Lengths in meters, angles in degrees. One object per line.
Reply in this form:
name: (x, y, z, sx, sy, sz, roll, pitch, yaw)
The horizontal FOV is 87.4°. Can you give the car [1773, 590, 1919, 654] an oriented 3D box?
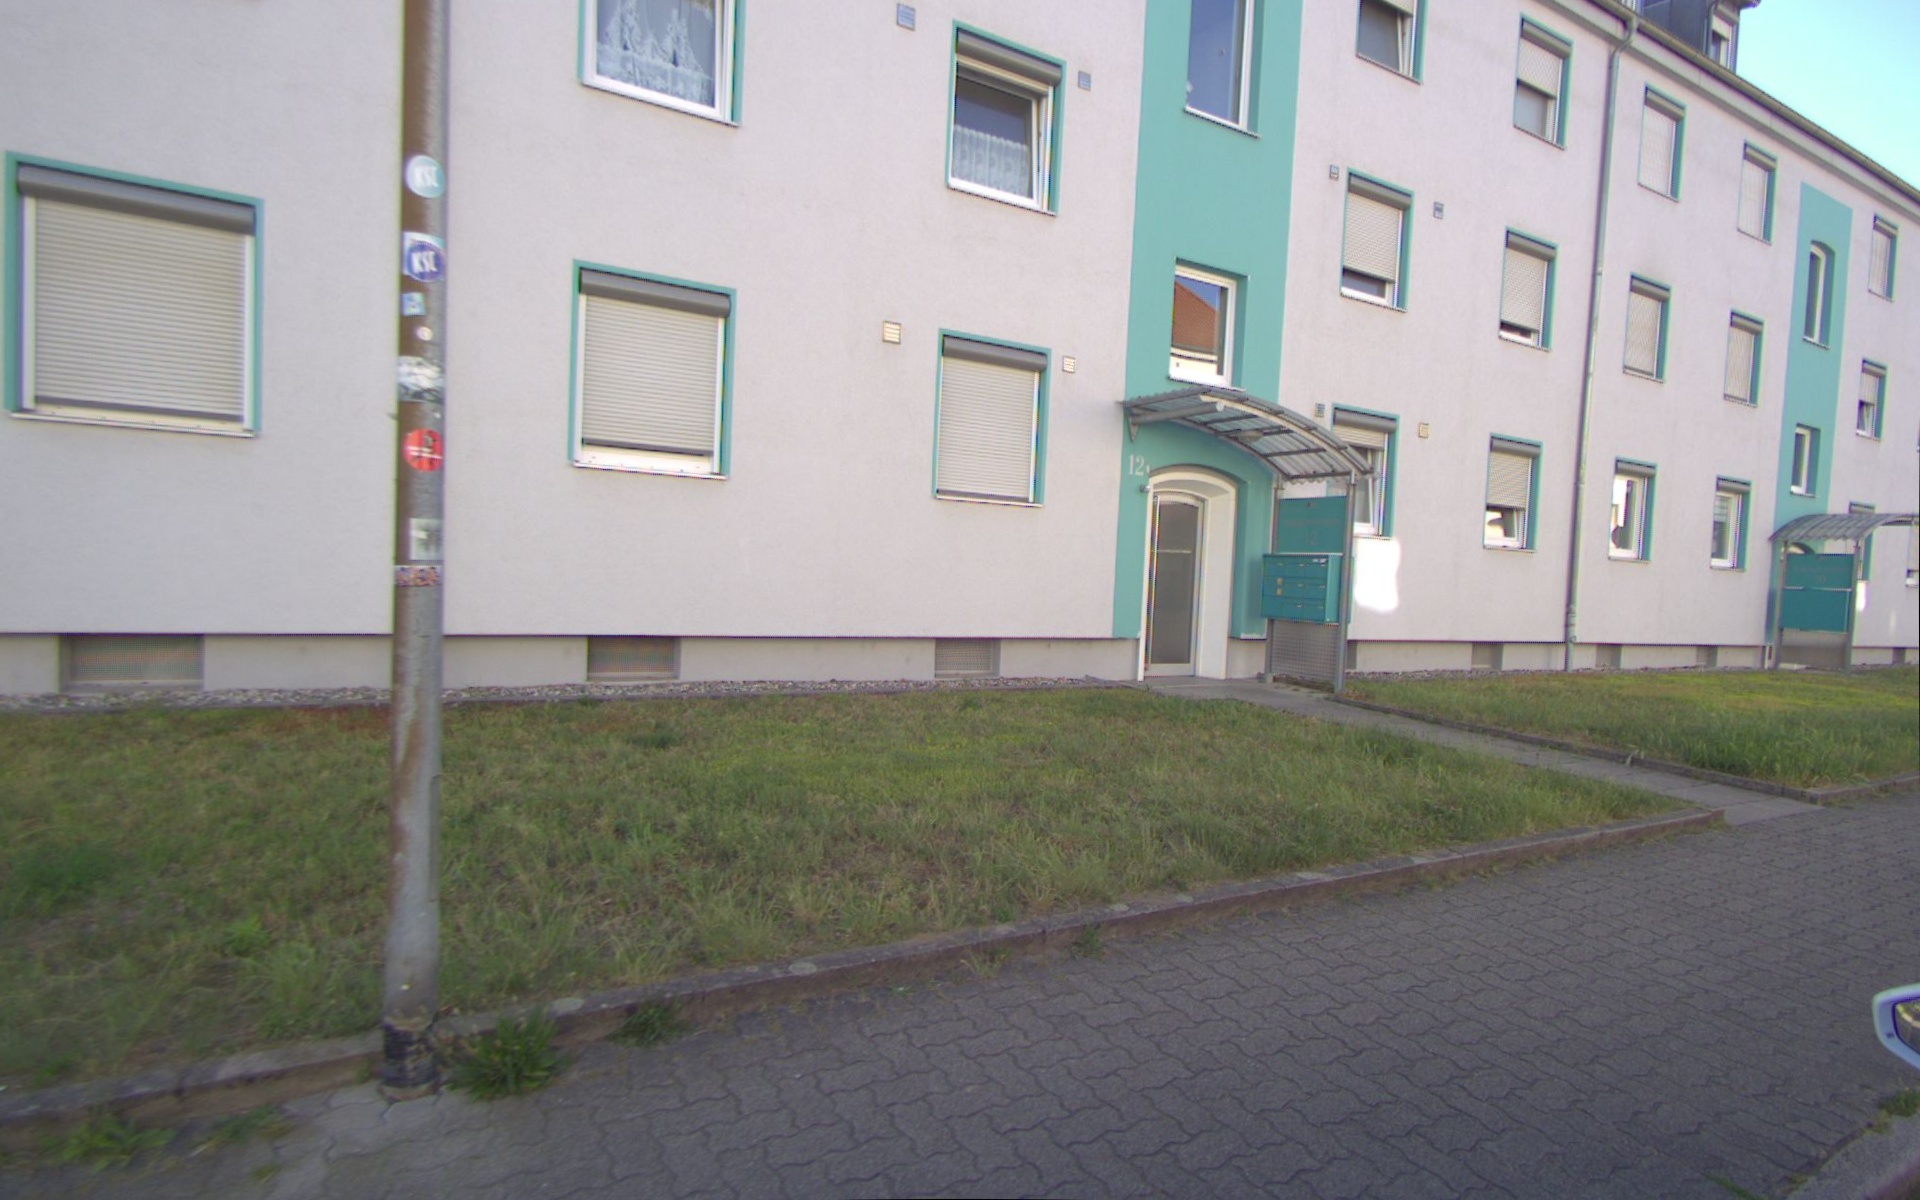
car: (28.638, 0.698, 31.913, 1.699, 1.812, 3.971, 3, 0, -30)
